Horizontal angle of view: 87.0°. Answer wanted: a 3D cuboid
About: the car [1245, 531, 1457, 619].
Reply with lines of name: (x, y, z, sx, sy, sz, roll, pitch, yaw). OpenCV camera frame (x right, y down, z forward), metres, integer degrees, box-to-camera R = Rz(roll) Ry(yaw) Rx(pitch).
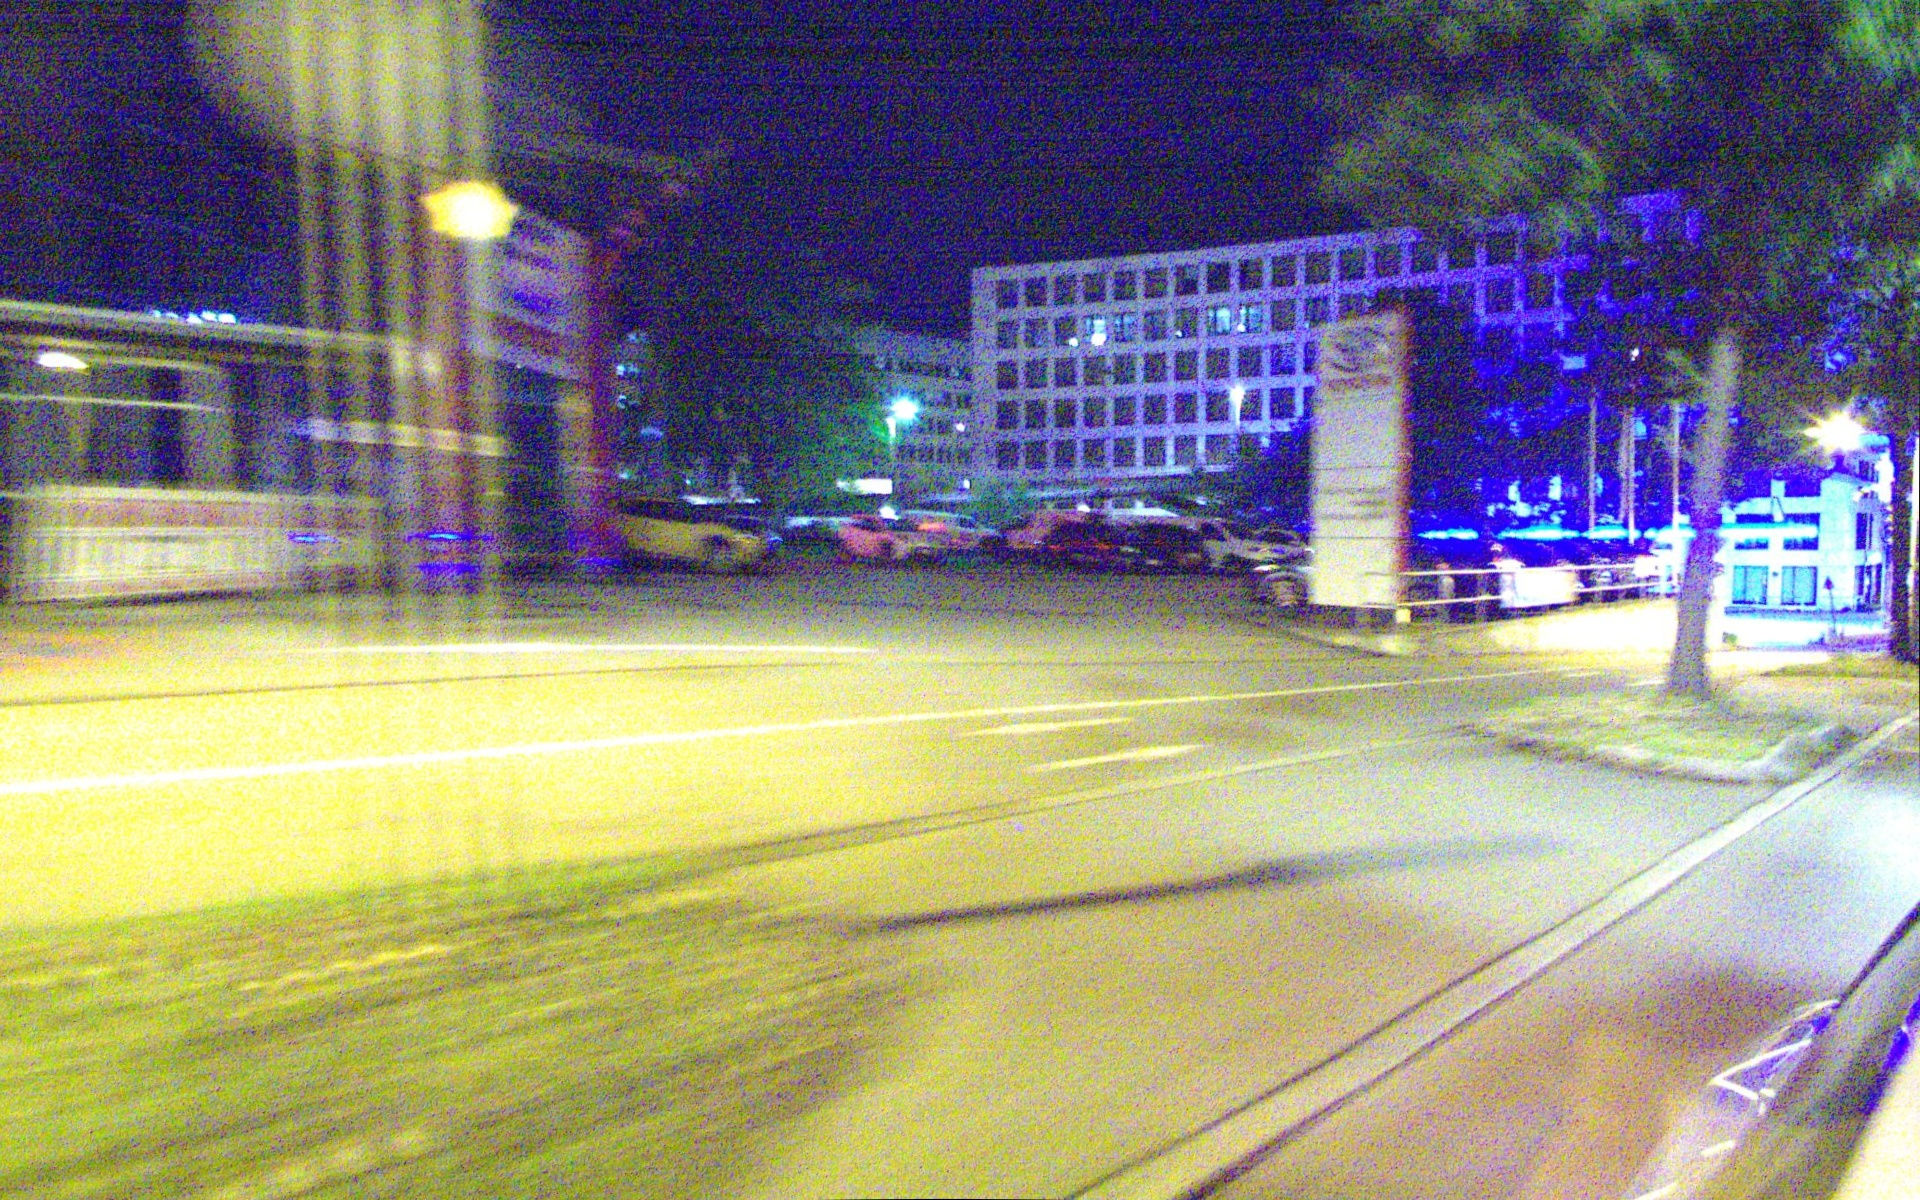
car: (7.838, -0.569, 20.586, 3.795, 1.507, 1.731, 3, 6, 20)

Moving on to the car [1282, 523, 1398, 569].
car: (14.018, -2.029, 37.484, 1.607, 1.487, 3.655, -2, 7, -36)

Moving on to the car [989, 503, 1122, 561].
car: (3.346, -2.446, 36.147, 1.967, 1.933, 4.583, -2, 5, -43)

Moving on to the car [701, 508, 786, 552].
car: (-8.397, -2.722, 39.019, 1.772, 1.585, 4.003, -2, 6, -35)

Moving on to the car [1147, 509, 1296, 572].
car: (8.174, -1.935, 32.014, 1.719, 1.745, 4.376, -2, 7, -37)

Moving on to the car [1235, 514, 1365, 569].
car: (12.001, -2.106, 35.901, 1.803, 1.751, 4.002, -2, 6, -36)

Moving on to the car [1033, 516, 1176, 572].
car: (4.126, -1.652, 29.323, 1.739, 1.449, 3.879, -3, 6, -43)

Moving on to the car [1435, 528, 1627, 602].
car: (14.171, -0.943, 25.265, 1.750, 1.605, 3.756, -3, 7, -41)

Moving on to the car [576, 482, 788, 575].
car: (-5.552, -1.469, 20.456, 3.718, 1.544, 1.735, 4, 5, 4)

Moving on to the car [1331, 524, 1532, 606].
car: (10.209, -0.819, 22.086, 1.699, 1.588, 3.566, -2, 5, -44)

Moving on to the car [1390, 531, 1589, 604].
car: (12.304, -0.830, 23.690, 1.713, 1.506, 3.732, -3, 5, -41)

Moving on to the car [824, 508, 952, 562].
car: (-2.201, -1.944, 30.071, 1.834, 1.508, 3.998, -2, 5, -39)

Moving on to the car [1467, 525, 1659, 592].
car: (15.936, -1.156, 26.911, 1.707, 1.590, 3.999, -2, 5, -38)

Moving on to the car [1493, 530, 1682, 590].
car: (17.571, -1.188, 28.508, 1.790, 1.540, 4.131, -3, 5, -38)

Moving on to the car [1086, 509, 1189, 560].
car: (7.157, -2.685, 41.033, 1.723, 1.917, 3.815, -2, 6, -43)

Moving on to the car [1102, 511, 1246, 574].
car: (6.405, -1.786, 30.615, 1.787, 1.709, 3.999, -2, 6, -39)

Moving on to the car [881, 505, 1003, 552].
car: (-0.793, -3.222, 45.760, 5.160, 1.994, 2.183, 2, 3, 13)
